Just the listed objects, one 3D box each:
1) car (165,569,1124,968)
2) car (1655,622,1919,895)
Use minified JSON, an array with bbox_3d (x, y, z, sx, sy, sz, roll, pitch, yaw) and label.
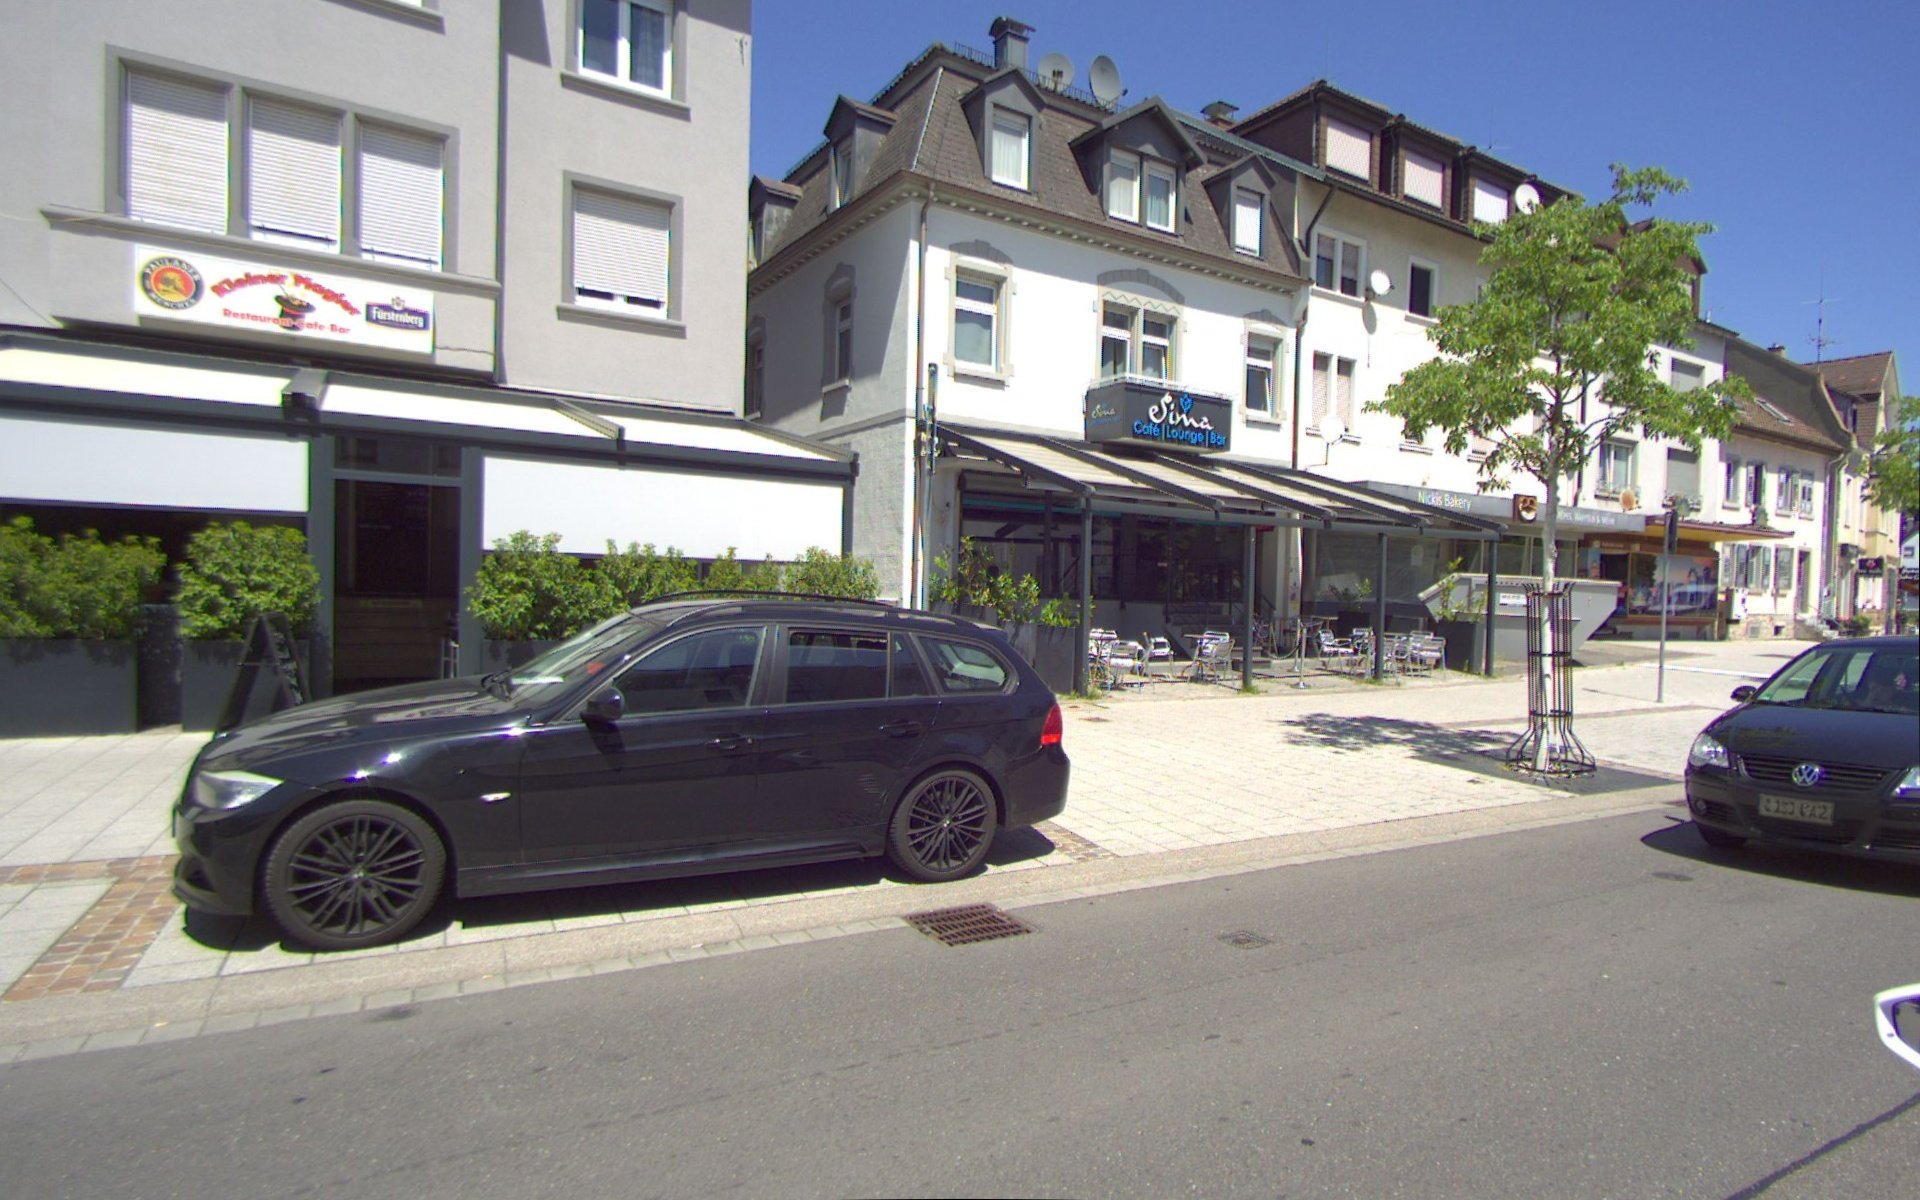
[{"bbox_3d":[-1.419,0.661,5.564,4.392,1.465,1.747,1,3,-27],"label":"car"},{"bbox_3d":[6.611,0.910,6.880,3.819,1.473,1.608,1,-1,-30],"label":"car"}]
